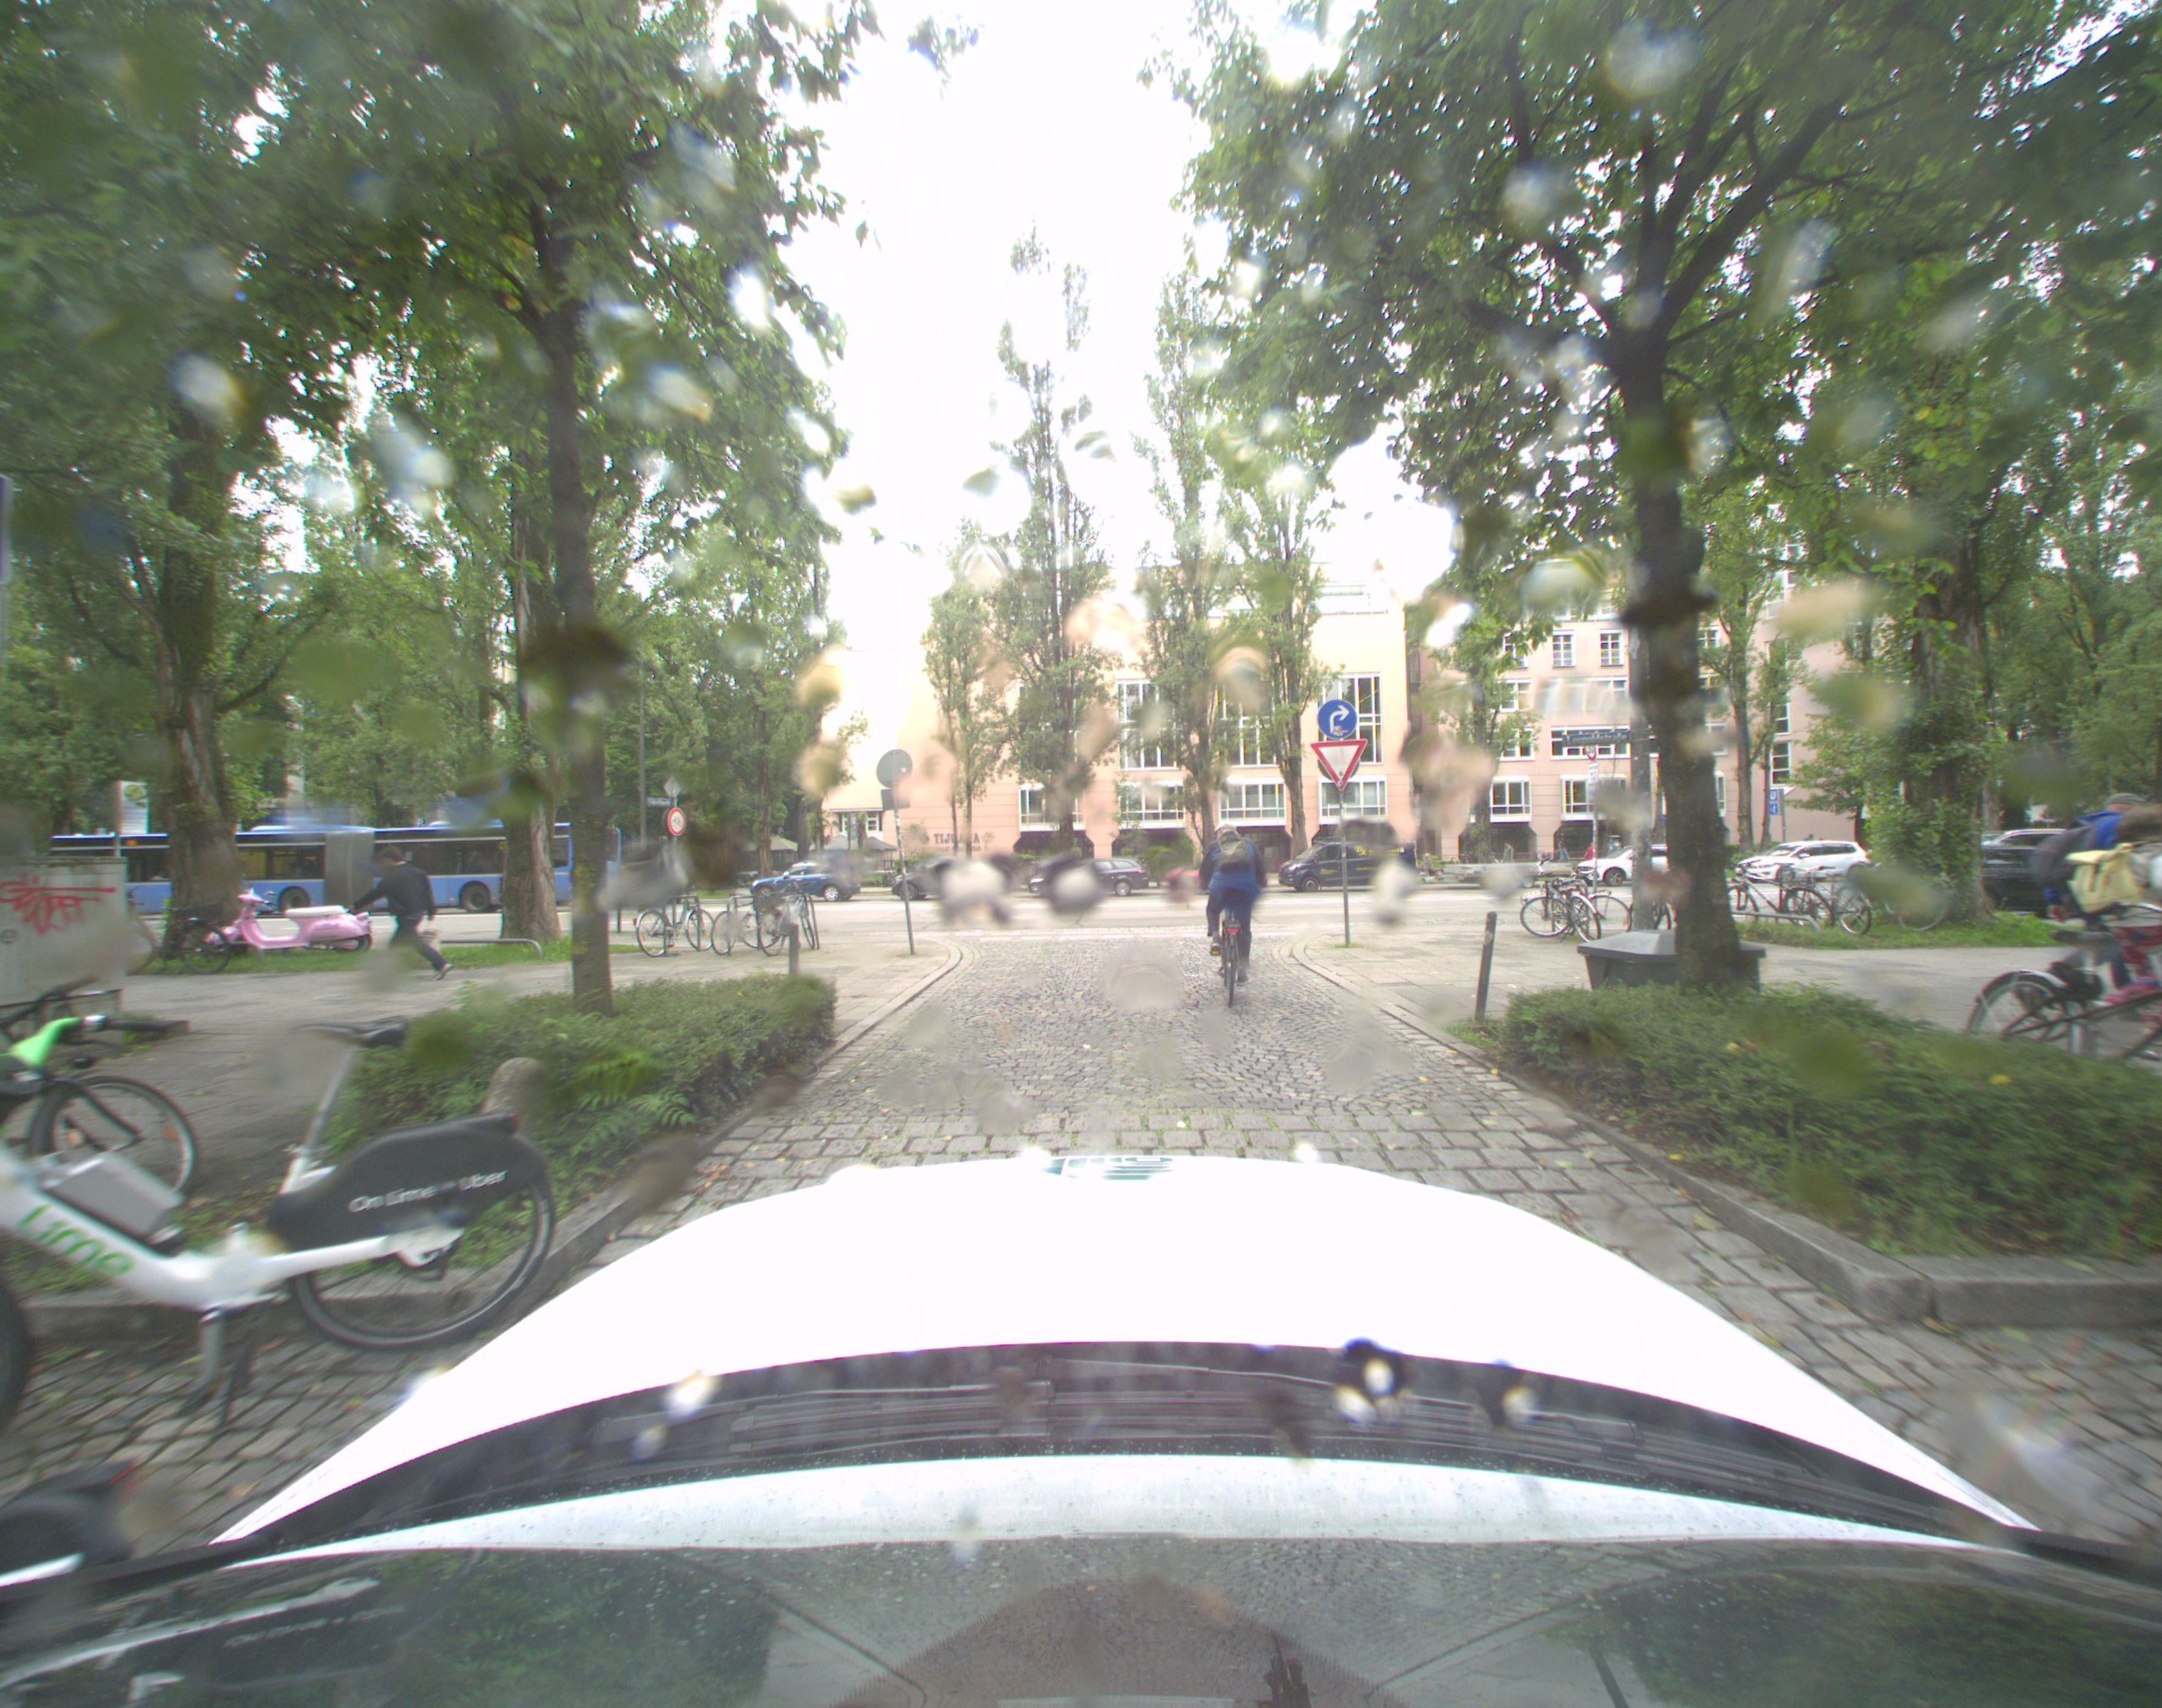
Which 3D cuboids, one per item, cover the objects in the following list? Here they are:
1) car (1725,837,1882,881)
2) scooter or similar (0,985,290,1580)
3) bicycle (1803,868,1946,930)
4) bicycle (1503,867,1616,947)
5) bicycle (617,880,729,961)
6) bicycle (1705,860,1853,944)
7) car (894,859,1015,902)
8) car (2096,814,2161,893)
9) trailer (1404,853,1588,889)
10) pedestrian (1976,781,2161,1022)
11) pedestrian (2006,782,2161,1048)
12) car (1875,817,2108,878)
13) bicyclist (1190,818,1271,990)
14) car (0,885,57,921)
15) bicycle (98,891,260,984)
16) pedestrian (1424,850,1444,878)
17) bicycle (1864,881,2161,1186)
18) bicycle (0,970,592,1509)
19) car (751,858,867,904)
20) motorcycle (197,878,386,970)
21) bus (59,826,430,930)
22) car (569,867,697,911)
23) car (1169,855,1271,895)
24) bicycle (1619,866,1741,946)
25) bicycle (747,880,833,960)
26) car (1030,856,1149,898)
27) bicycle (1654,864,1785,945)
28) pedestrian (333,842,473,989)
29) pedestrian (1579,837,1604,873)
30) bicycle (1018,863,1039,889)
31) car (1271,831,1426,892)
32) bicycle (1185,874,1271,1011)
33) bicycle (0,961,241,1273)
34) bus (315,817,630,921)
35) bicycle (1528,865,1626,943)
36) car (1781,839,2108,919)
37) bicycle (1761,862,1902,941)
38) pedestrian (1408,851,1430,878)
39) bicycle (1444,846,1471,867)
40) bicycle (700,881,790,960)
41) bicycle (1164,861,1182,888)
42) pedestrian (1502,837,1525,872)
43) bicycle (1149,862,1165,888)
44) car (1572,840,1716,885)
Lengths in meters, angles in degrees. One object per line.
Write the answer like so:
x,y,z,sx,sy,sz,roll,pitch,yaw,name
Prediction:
27.764,0.195,31.403,4.296,1.542,2.000,-2,0,0,car
-2.677,0.928,1.693,1.431,1.144,0.367,-1,0,-22,scooter or similar
11.464,0.621,11.850,0.467,0.818,1.837,-1,-1,8,bicycle
6.938,0.729,11.919,0.473,1.050,1.875,-1,-1,-2,bicycle
-6.298,0.990,12.700,0.487,1.093,1.988,-1,0,8,bicycle
9.949,0.643,11.716,0.509,1.105,1.932,-1,-1,3,bicycle
-5.034,1.050,32.860,4.481,1.529,1.795,-1,0,3,car
23.014,-0.048,15.974,3.877,1.526,1.750,-1,1,4,car
16.152,0.648,32.027,5.992,1.199,2.407,-1,0,3,trailer
7.509,0.337,6.110,0.798,1.696,0.666,-2,0,12,pedestrian
6.966,0.384,5.425,0.837,1.680,0.613,-2,0,12,pedestrian
28.109,-0.172,25.287,4.779,1.722,2.002,-1,-1,3,car
1.497,0.474,8.097,0.717,1.619,0.759,-1,0,12,bicyclist
-46.346,2.097,34.451,3.853,1.412,1.795,-1,0,3,car
-12.500,1.143,11.309,1.604,1.188,0.584,-1,0,2,bicycle
18.132,0.509,41.819,0.726,1.369,0.710,-1,0,4,pedestrian
4.587,0.730,3.742,0.471,1.136,1.882,-1,0,11,bicycle
-2.495,1.025,2.395,1.767,1.143,0.549,-1,0,-29,bicycle
-10.990,1.086,33.049,4.050,1.732,1.794,-1,-1,1,car
-11.917,1.016,12.394,2.002,1.196,0.622,-2,0,-41,motorcycle
-28.231,0.783,27.774,9.726,3.052,2.929,-2,0,2,bus
-18.142,1.396,33.089,4.205,1.600,1.795,-1,0,3,car
5.428,0.815,32.152,3.842,1.448,1.681,-1,0,5,car
8.547,0.704,11.720,0.472,1.050,1.878,-1,-1,4,bicycle
-4.467,0.985,12.620,0.487,1.093,1.707,-1,0,8,bicycle
0.384,0.909,32.588,4.589,1.529,1.795,-1,0,3,car
9.000,0.681,11.581,0.472,1.050,1.878,-1,-1,4,bicycle
-8.367,0.733,10.096,0.952,1.711,0.858,-2,0,1,pedestrian
24.444,0.050,39.009,0.726,1.713,0.710,-1,0,4,pedestrian
-2.393,0.984,37.061,0.671,1.124,1.991,-2,0,4,bicycle
10.478,0.285,32.216,5.456,2.197,2.025,-1,0,3,car
1.479,0.798,8.058,0.712,1.148,1.906,-1,-1,12,bicycle
-4.217,1.019,2.916,0.550,1.022,1.763,-1,0,1,bicycle
-20.314,0.485,27.510,8.455,3.052,2.929,-2,0,2,bus
7.542,0.717,12.470,0.472,1.050,1.879,-1,0,4,bicycle
16.992,0.473,16.228,4.410,1.427,1.760,-1,1,6,car
10.721,0.642,11.718,0.509,1.038,1.837,-1,-1,8,bicycle
17.344,0.531,41.765,0.711,1.369,0.725,-1,0,-26,pedestrian
20.972,0.113,45.426,0.671,1.124,1.991,-2,0,4,bicycle
-5.236,1.006,12.813,0.487,1.093,1.707,-1,0,8,bicycle
4.121,0.901,36.493,0.671,1.124,1.743,-2,0,4,bicycle
21.199,0.024,39.947,0.726,1.713,0.710,-1,0,4,pedestrian
3.397,0.926,36.538,0.671,1.124,1.743,-2,0,4,bicycle
21.605,0.339,31.372,4.200,1.542,1.808,-2,-1,4,car
